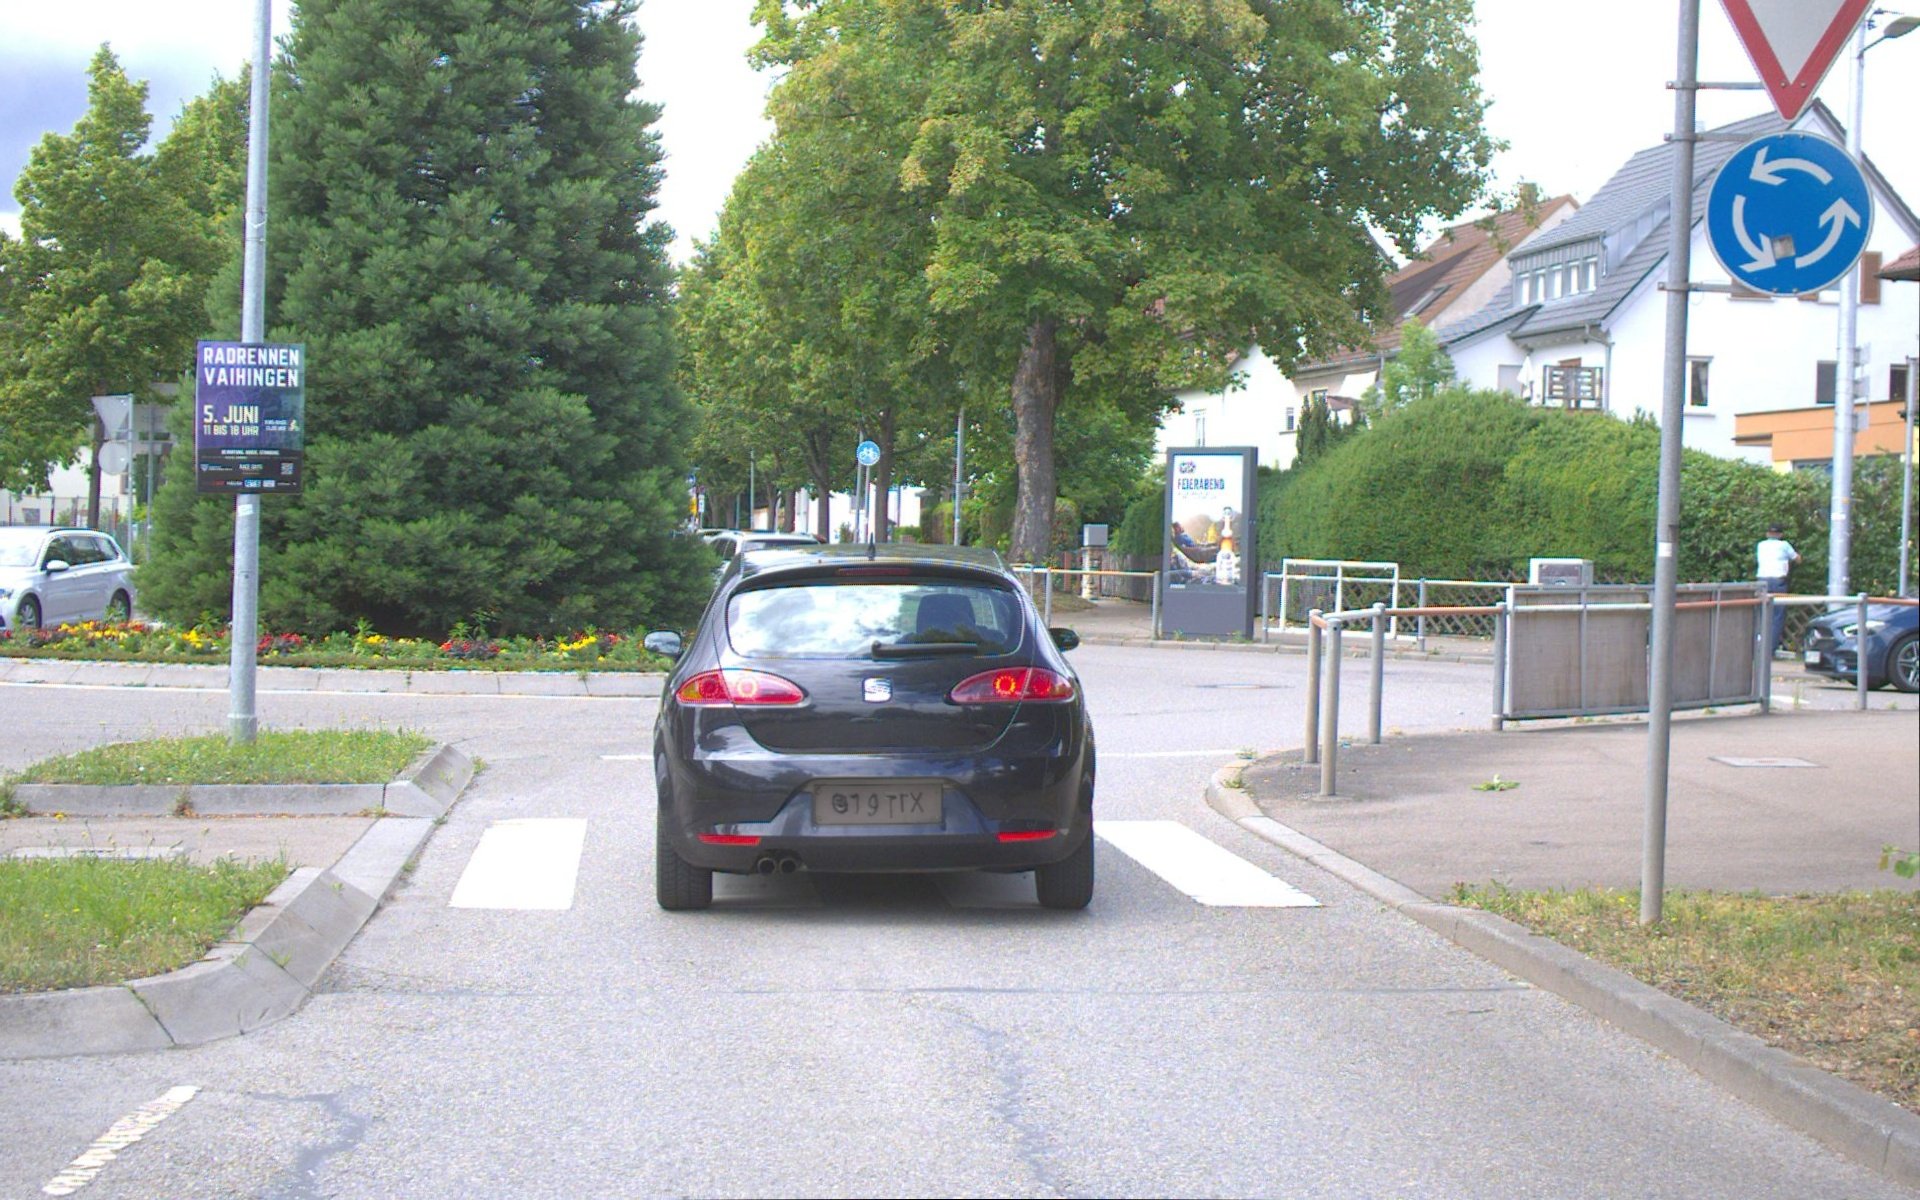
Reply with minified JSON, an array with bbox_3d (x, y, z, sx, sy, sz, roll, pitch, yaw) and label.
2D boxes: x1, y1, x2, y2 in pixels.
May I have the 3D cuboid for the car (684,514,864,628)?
[{"bbox_3d":[-2.858,-0.467,52.074,1.993,1.607,4.001,1,1,-13],"label":"car"}]

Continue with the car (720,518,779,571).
[{"bbox_3d":[-6.210,-1.648,101.322,1.594,1.505,3.601,1,1,-5],"label":"car"}]

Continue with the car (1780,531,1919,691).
[{"bbox_3d":[11.333,0.158,37.283,4.397,1.655,1.650,2,1,-3],"label":"car"}]

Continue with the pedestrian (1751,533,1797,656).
[{"bbox_3d":[10.233,-0.071,43.200,0.491,1.528,0.484,1,1,19],"label":"pedestrian"}]

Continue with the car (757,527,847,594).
[{"bbox_3d":[-3.700,-0.932,80.226,1.474,1.484,3.383,1,1,-13],"label":"car"}]

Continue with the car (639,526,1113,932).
[{"bbox_3d":[-0.348,0.440,14.745,1.732,1.481,4.000,1,1,-1],"label":"car"}]

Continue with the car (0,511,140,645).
[{"bbox_3d":[-11.747,-0.312,42.256,1.869,1.555,4.258,1,1,7],"label":"car"}]
